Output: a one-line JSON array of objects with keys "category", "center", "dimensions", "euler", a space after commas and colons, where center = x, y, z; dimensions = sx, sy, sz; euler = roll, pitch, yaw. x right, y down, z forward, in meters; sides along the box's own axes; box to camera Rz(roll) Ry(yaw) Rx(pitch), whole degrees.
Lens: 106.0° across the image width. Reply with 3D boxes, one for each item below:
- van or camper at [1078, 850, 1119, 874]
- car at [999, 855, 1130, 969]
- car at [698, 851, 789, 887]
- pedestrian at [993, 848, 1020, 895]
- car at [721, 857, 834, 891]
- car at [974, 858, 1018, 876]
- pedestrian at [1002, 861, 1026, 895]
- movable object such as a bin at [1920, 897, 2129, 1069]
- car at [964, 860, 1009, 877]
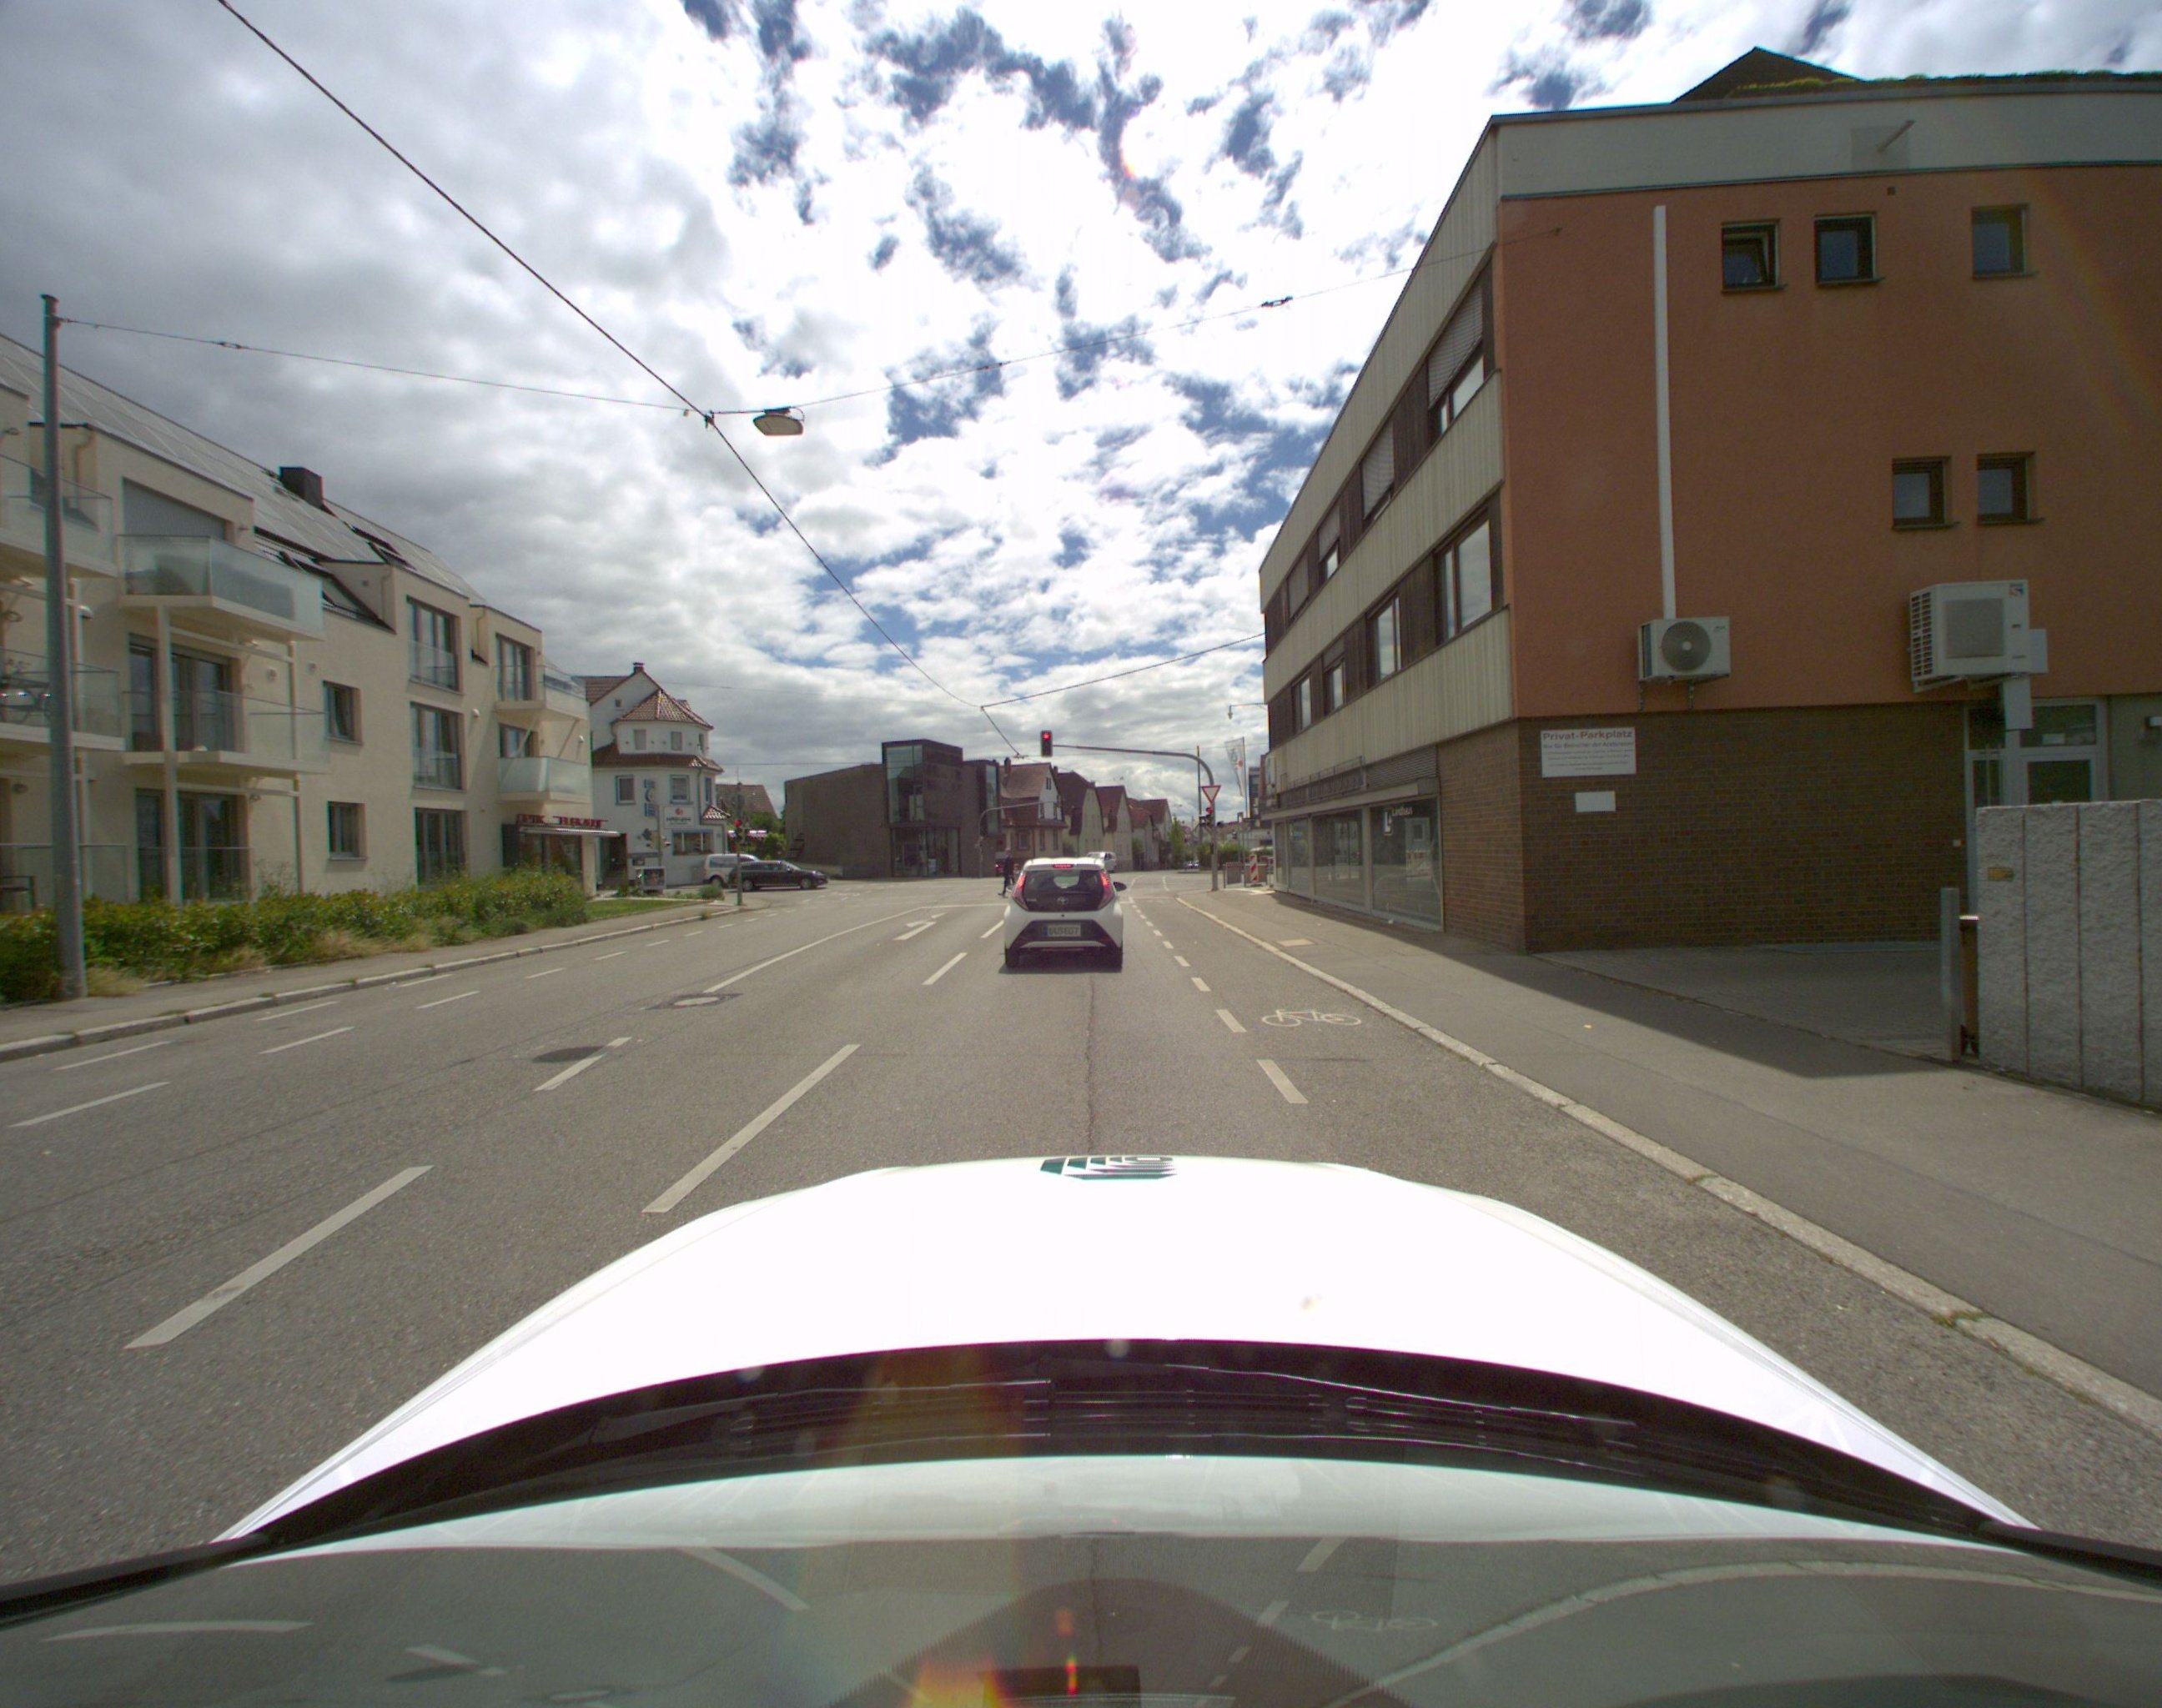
[{"category": "van or camper", "center": [1.532, 0.626, 68.842], "dimensions": [2.099, 1.926, 5.308], "euler": [0, 0, 16]}, {"category": "car", "center": [-0.221, 0.755, 12.155], "dimensions": [1.692, 1.456, 3.298], "euler": [0, 0, -1]}, {"category": "car", "center": [-17.800, 0.776, 43.151], "dimensions": [4.060, 1.849, 1.993], "euler": [0, 0, -10]}, {"category": "pedestrian", "center": [-2.784, 0.643, 30.371], "dimensions": [0.825, 1.721, 0.812], "euler": [-1, 0, -19]}, {"category": "car", "center": [-15.063, 0.964, 40.628], "dimensions": [4.891, 1.577, 1.995], "euler": [-1, 0, -7]}, {"category": "car", "center": [-7.767, 1.194, 74.463], "dimensions": [3.590, 1.605, 1.697], "euler": [0, 0, 12]}, {"category": "pedestrian", "center": [-2.451, 0.869, 29.712], "dimensions": [0.735, 1.221, 0.642], "euler": [-1, 0, -18]}, {"category": "movable object such as a bin", "center": [5.934, 0.774, 5.152], "dimensions": [0.532, 0.951, 0.684], "euler": [-1, 0, -12]}, {"category": "car", "center": [-8.392, 1.284, 72.195], "dimensions": [3.590, 1.419, 1.697], "euler": [0, 0, 12]}]
